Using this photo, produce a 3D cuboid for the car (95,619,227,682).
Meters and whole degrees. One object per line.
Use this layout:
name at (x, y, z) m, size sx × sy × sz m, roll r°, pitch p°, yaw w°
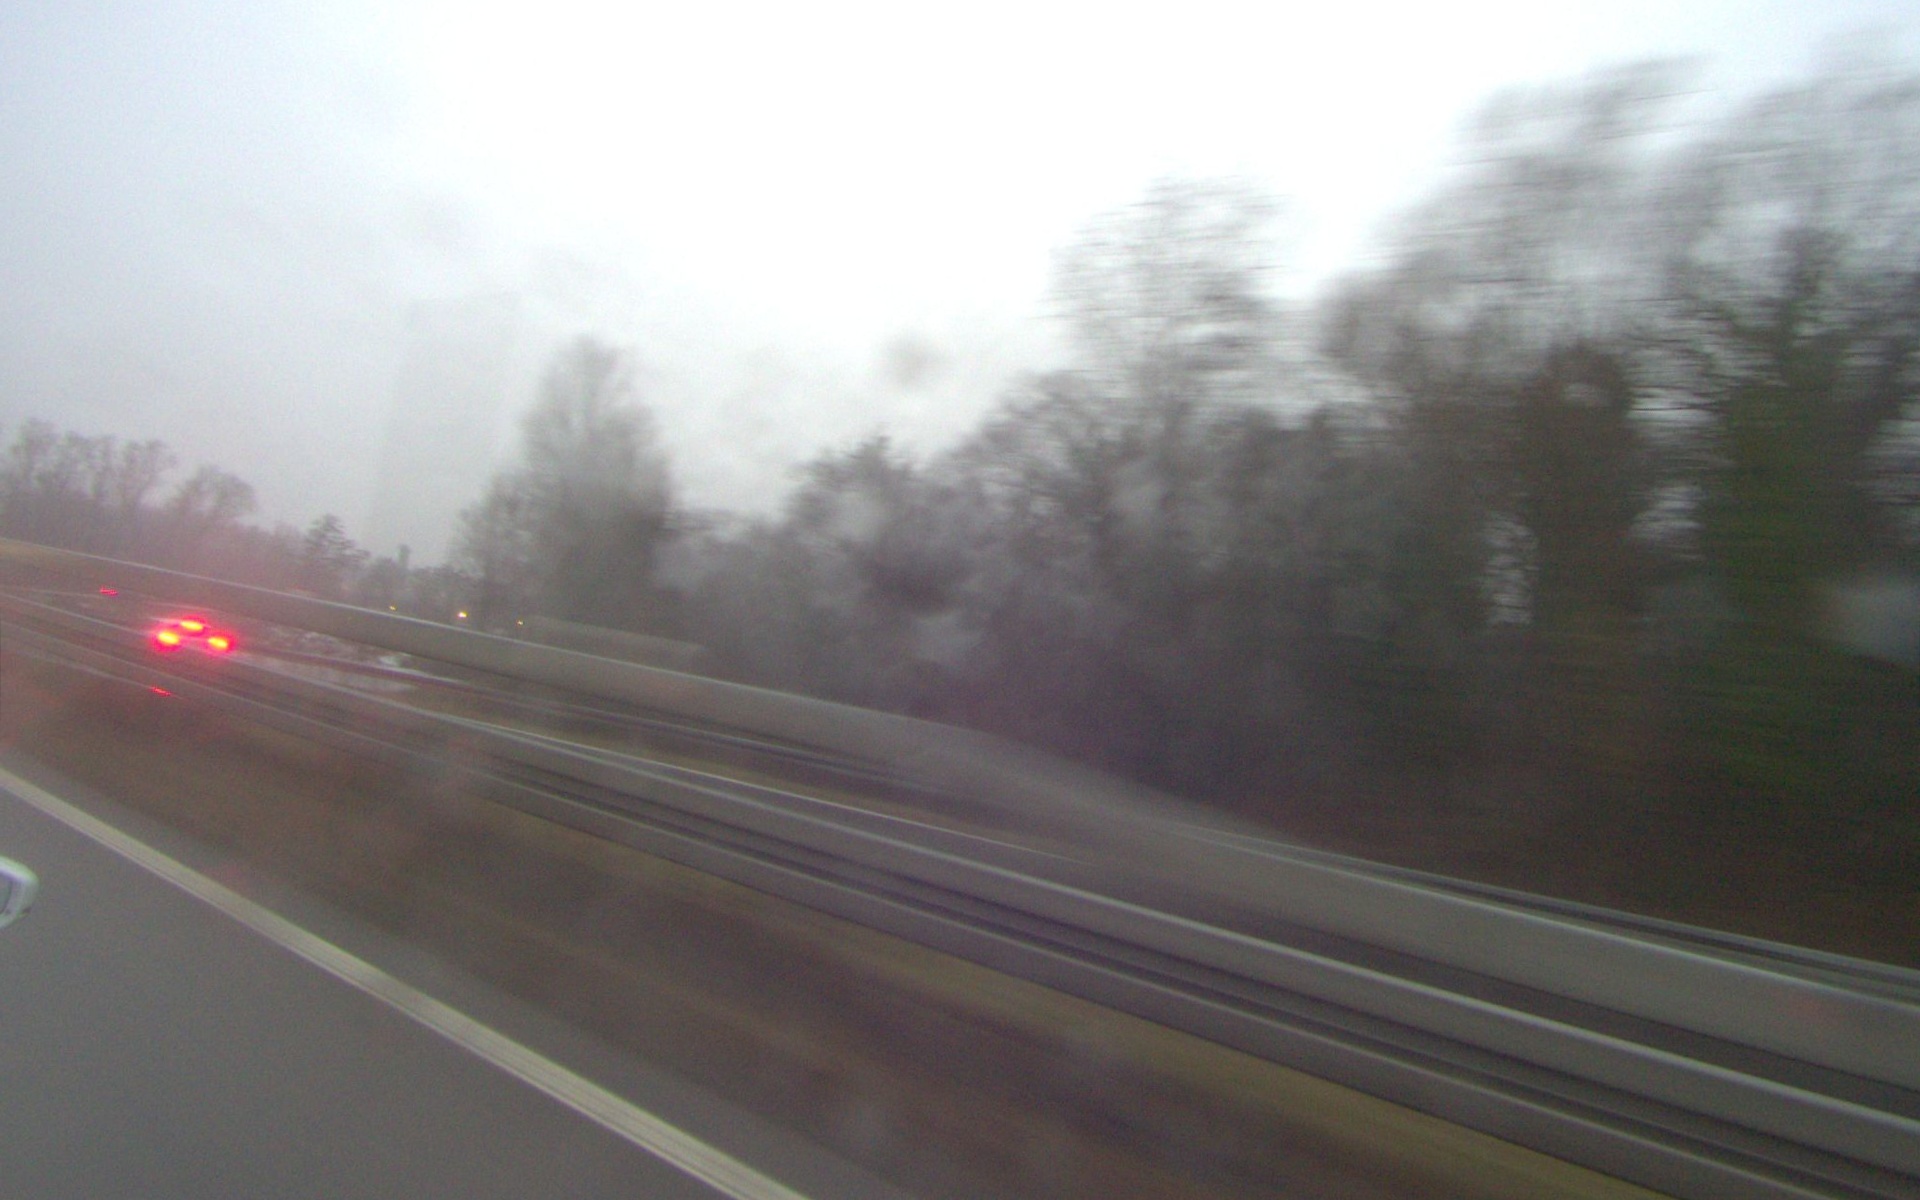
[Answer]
car at (-24.825, 1.551, 31.246) m, size 3.932 × 1.292 × 1.685 m, roll 5°, pitch -9°, yaw 29°
